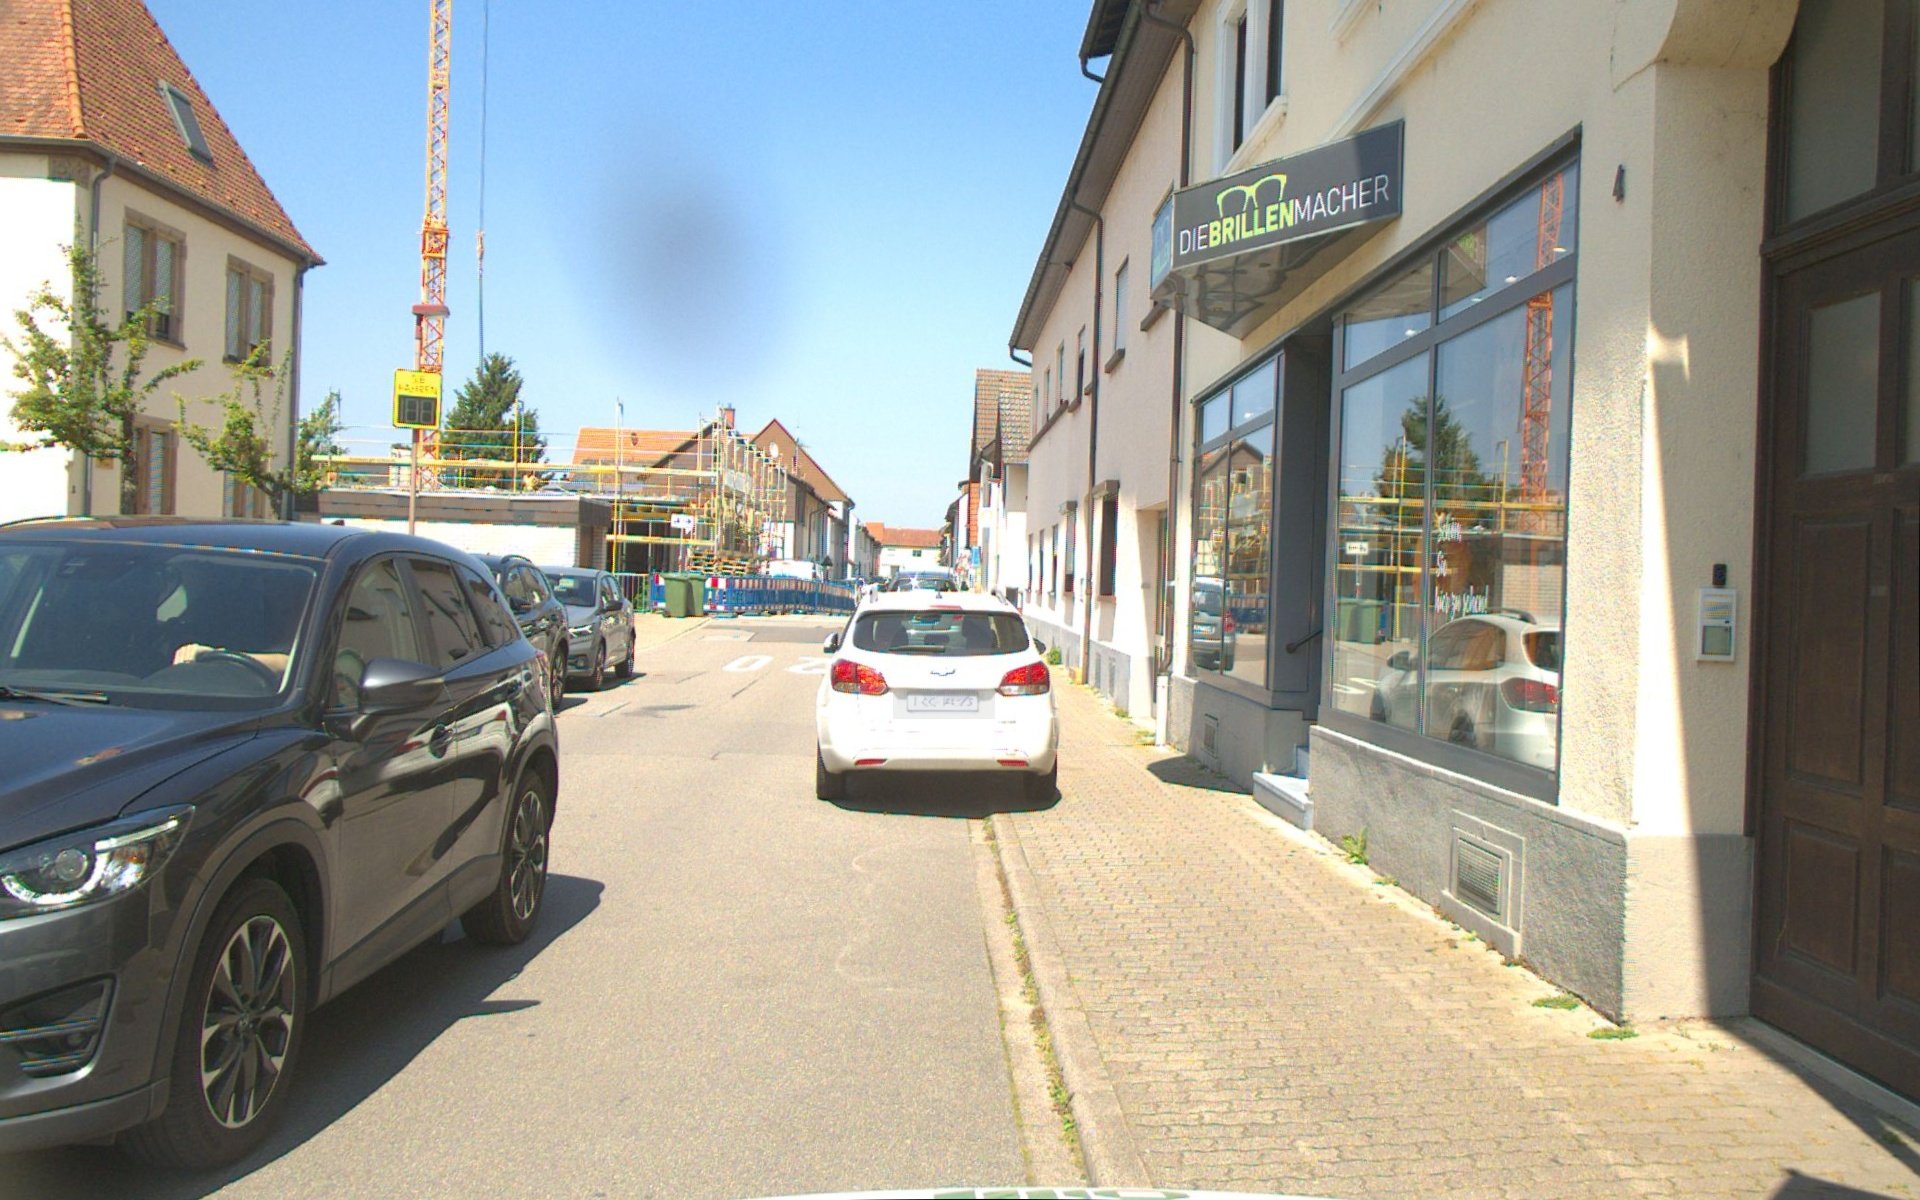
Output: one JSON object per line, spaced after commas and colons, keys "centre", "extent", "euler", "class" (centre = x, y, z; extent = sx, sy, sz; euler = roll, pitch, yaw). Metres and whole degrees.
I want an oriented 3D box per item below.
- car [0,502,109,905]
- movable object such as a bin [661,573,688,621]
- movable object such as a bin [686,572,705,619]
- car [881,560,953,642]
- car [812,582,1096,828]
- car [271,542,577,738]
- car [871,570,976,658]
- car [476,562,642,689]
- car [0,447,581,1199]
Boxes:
{"centre": [-4.700, 0.419, 5.735], "extent": [1.605, 1.657, 3.767], "euler": [2, 1, -2], "class": "car"}
{"centre": [-7.102, -0.081, 41.217], "extent": [0.610, 1.175, 0.676], "euler": [2, 1, -9], "class": "movable object such as a bin"}
{"centre": [-6.664, -0.110, 41.711], "extent": [0.423, 1.175, 0.363], "euler": [2, 1, -11], "class": "movable object such as a bin"}
{"centre": [-0.994, -0.018, 38.064], "extent": [1.532, 1.641, 3.542], "euler": [2, 3, -2], "class": "car"}
{"centre": [-0.219, 0.685, 13.102], "extent": [1.850, 1.569, 4.238], "euler": [2, 1, -5], "class": "car"}
{"centre": [-5.186, 0.327, 16.603], "extent": [1.789, 1.659, 4.215], "euler": [2, 1, -2], "class": "car"}
{"centre": [-0.785, 0.227, 32.891], "extent": [1.847, 1.583, 3.891], "euler": [-2, 1, -4], "class": "car"}
{"centre": [-5.245, 0.301, 22.029], "extent": [1.407, 1.500, 3.784], "euler": [2, 0, -3], "class": "car"}
{"centre": [-2.644, 0.499, 5.323], "extent": [1.843, 1.697, 4.153], "euler": [2, 1, 0], "class": "car"}
